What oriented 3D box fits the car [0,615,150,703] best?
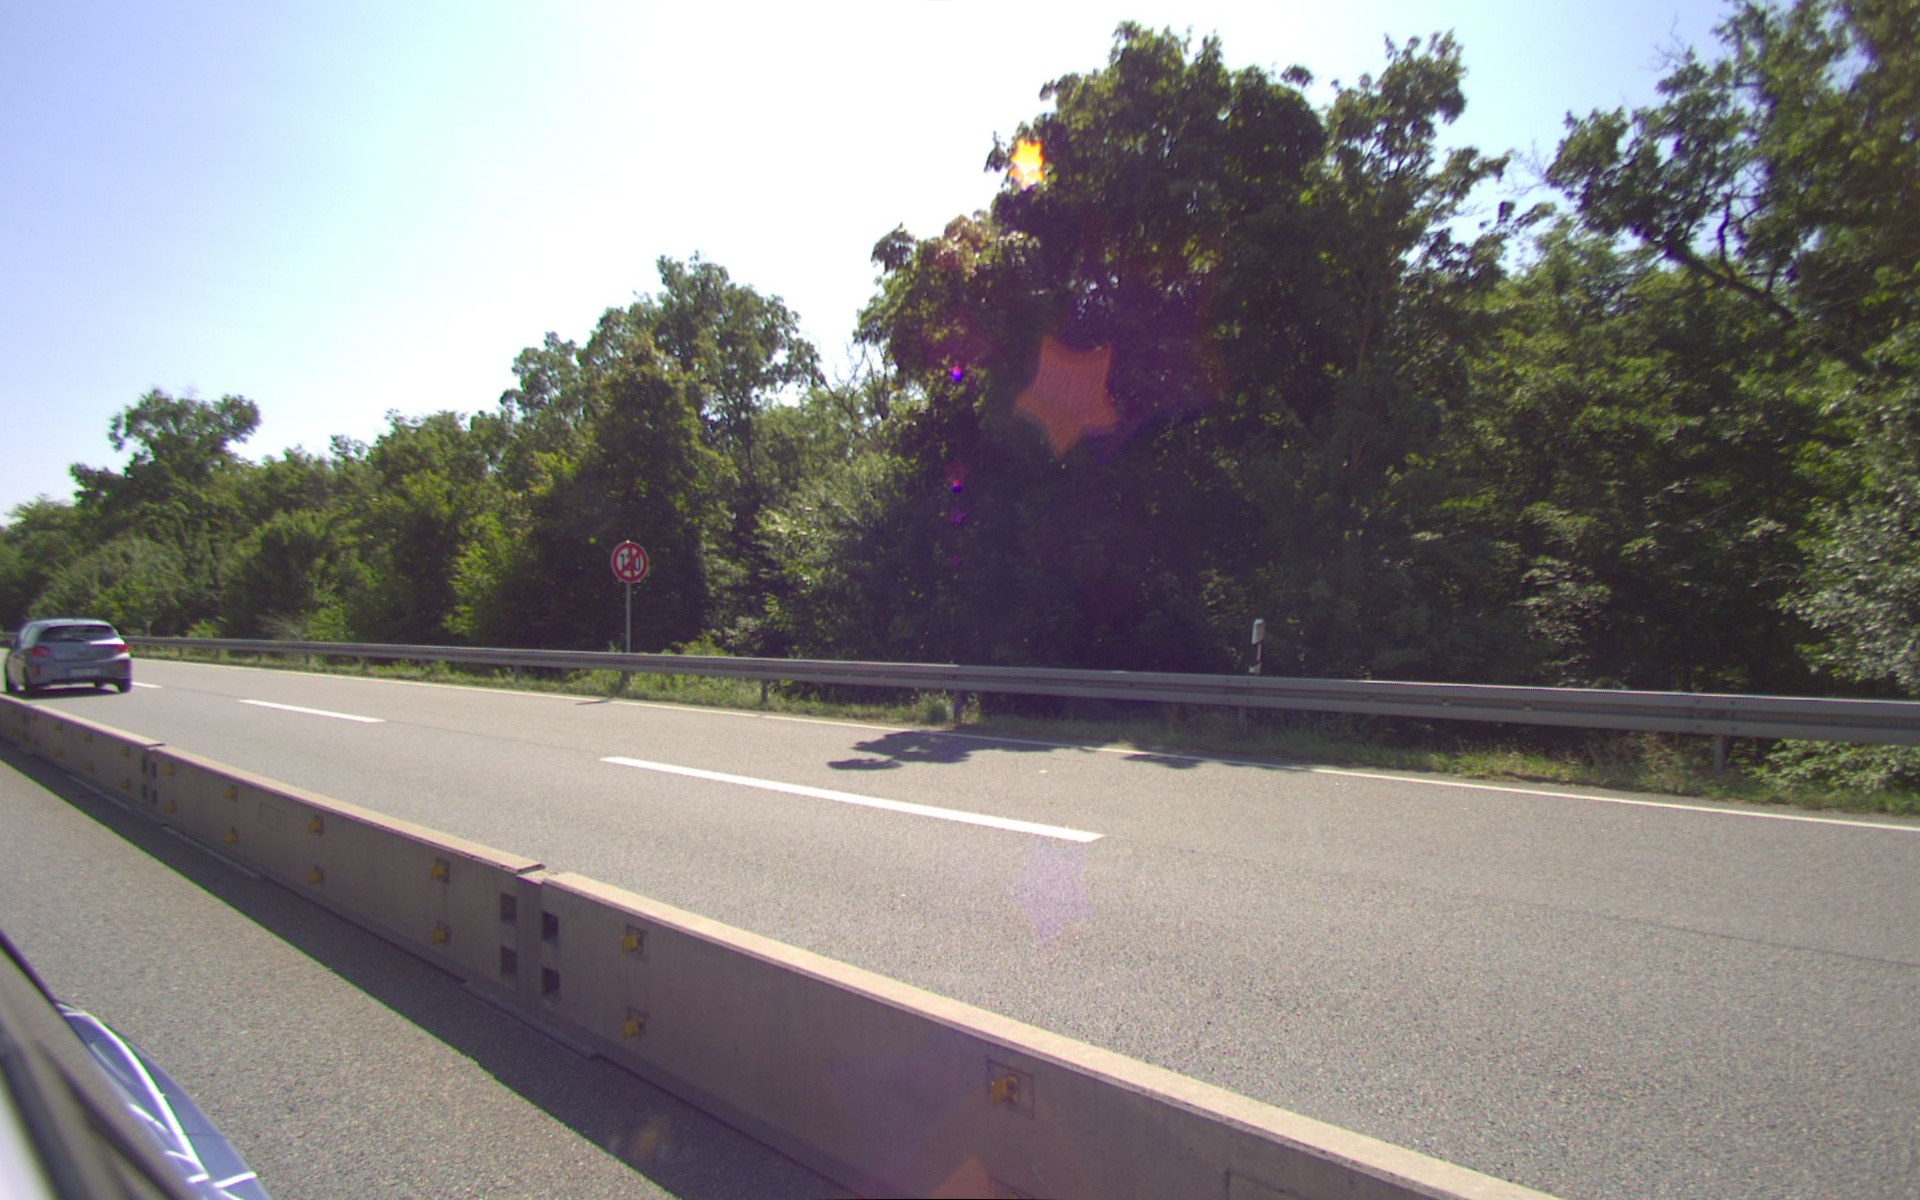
[{"bbox_3d":[-18.464,1.129,20.953,4.434,1.591,1.928,-1,0,42],"label":"car"}]
